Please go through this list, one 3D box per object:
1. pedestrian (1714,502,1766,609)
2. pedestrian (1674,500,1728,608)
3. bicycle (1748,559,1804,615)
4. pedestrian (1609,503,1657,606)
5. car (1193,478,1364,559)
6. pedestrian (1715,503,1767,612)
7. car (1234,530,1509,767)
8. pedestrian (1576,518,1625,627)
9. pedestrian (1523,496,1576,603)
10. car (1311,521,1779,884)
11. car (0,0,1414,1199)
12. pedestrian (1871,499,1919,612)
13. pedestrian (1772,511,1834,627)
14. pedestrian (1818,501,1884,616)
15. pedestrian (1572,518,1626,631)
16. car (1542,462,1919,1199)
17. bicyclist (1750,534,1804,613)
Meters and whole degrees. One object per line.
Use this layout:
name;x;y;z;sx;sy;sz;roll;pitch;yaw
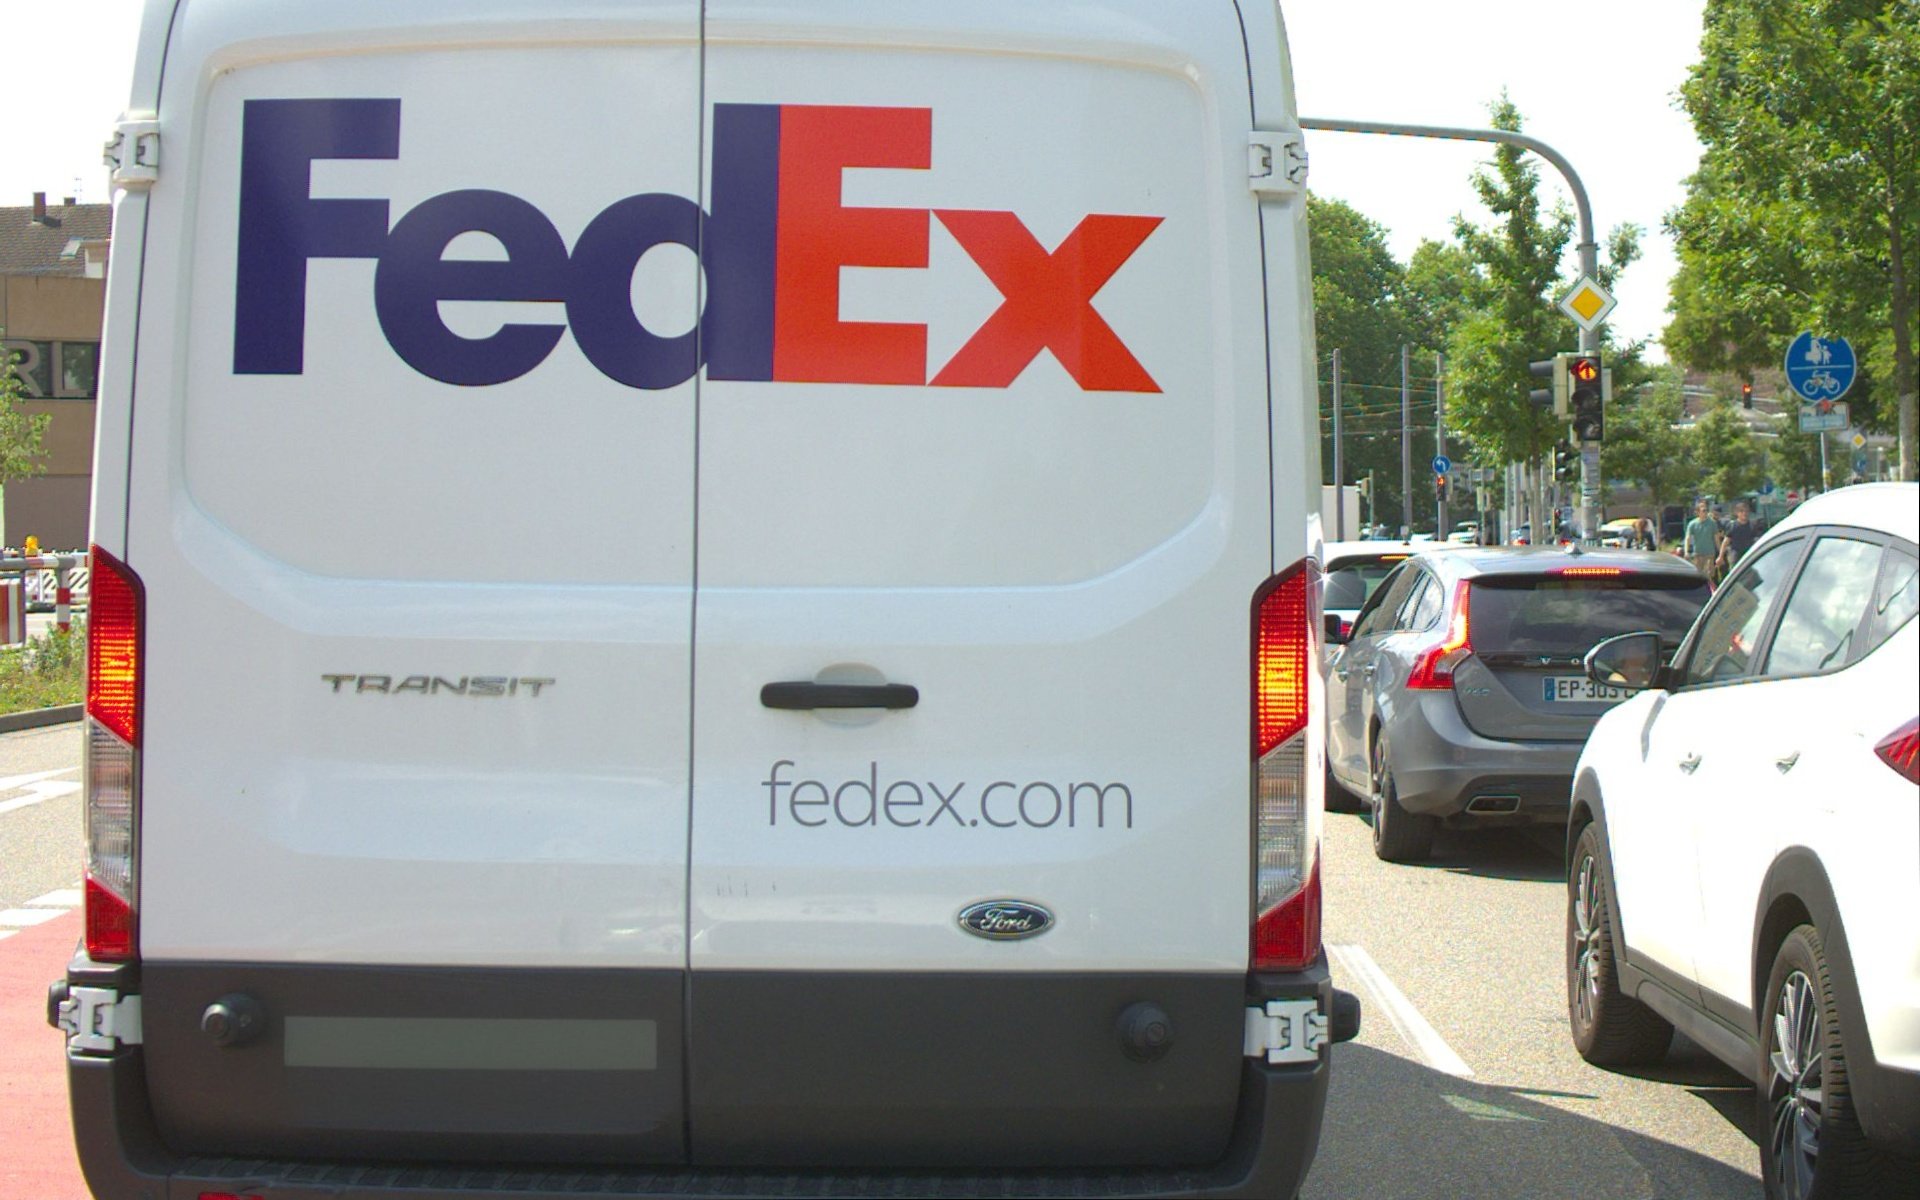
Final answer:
pedestrian;13.560;-0.785;59.783;0.759;1.843;0.816;-1;1;3
pedestrian;12.707;-0.796;58.981;0.759;1.843;0.816;-1;1;1
bicycle;23.003;-0.379;96.849;1.426;1.459;4.308;0;2;15
pedestrian;12.097;-0.825;61.773;0.759;1.843;0.816;-1;1;6
car;11.256;-2.843;121.043;2.493;2.708;7.068;1;1;39
pedestrian;12.923;-0.711;56.891;0.759;1.783;0.816;0;1;8
car;2.724;0.268;23.349;1.499;1.459;3.474;0;1;1
pedestrian;11.001;-0.473;59.048;0.759;1.843;0.816;0;1;15
pedestrian;10.272;-0.890;59.931;0.813;1.843;0.761;-1;1;3
car;2.718;0.402;16.722;1.691;1.543;3.720;0;1;1
car;-0.352;0.068;7.166;2.072;2.572;4.428;0;1;1
pedestrian;15.441;-0.737;56.294;0.758;1.843;0.816;-1;1;-8
pedestrian;13.652;-0.510;55.689;0.758;1.843;0.816;-1;1;-3
pedestrian;14.546;-0.686;56.115;0.758;1.843;0.816;-1;1;-10
pedestrian;10.546;-0.419;56.694;0.759;1.843;0.815;0;1;18
car;2.608;0.528;8.214;1.814;1.673;3.974;0;1;1
bicyclist;23.021;-0.752;96.889;1.433;2.164;1.338;0;1;15
